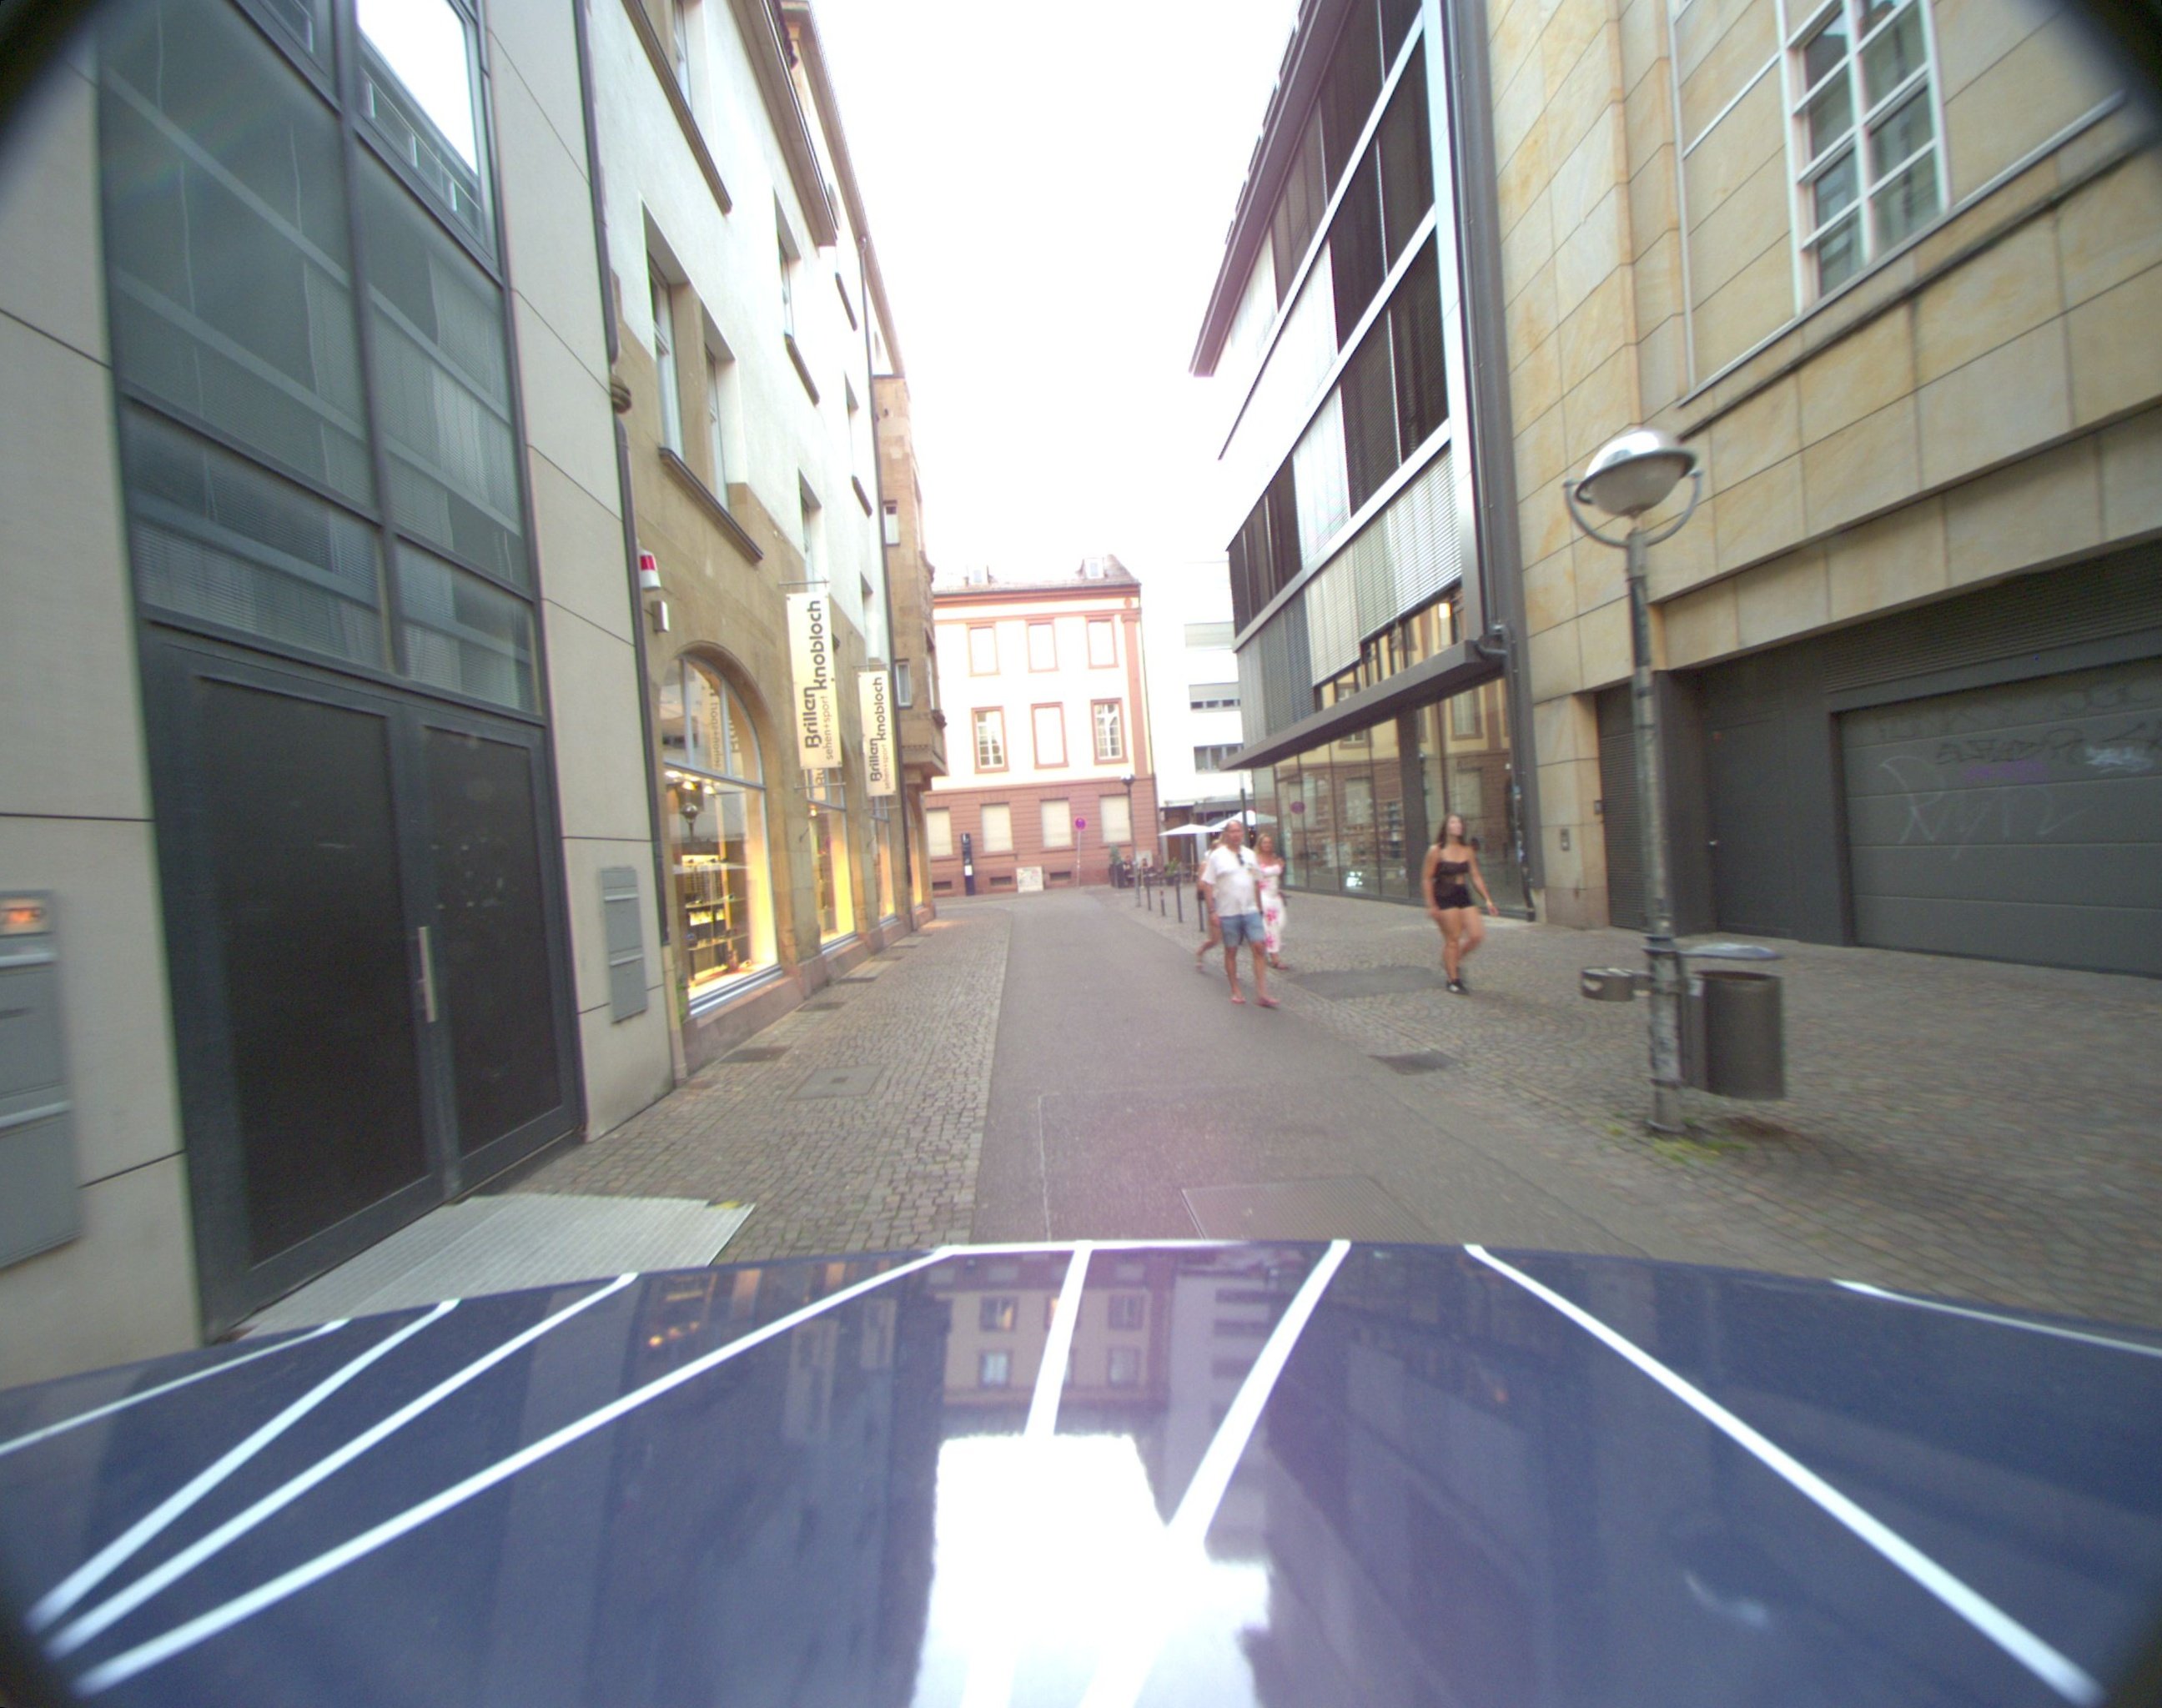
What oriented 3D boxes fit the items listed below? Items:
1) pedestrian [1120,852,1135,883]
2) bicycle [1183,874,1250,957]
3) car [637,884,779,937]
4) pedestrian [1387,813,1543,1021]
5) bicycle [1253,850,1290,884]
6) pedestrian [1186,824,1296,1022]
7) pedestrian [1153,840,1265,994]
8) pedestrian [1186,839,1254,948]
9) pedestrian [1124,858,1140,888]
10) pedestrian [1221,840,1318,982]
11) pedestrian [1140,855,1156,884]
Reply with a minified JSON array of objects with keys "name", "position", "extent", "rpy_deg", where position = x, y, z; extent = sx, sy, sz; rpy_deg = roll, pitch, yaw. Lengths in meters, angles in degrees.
[{"name":"pedestrian","position":[2.035,0.590,33.273],"extent":[0.549,1.341,0.488],"rpy_deg":[-4,1,-2]},{"name":"bicycle","position":[2.171,0.946,12.397],"extent":[0.534,1.147,1.914],"rpy_deg":[-6,1,-4]},{"name":"car","position":[-12.817,1.924,26.277],"extent":[3.998,1.434,1.650],"rpy_deg":[-4,1,-2]},{"name":"pedestrian","position":[3.599,0.552,7.195],"extent":[0.788,1.785,0.971],"rpy_deg":[-4,1,-12]},{"name":"bicycle","position":[6.721,0.476,26.893],"extent":[0.709,1.106,1.673],"rpy_deg":[-4,-1,-5]},{"name":"pedestrian","position":[1.571,0.647,7.599],"extent":[0.744,1.812,0.878],"rpy_deg":[-4,1,-5]},{"name":"pedestrian","position":[1.548,0.730,9.283],"extent":[0.810,1.719,0.947],"rpy_deg":[-5,1,-28]},{"name":"pedestrian","position":[2.333,0.648,12.760],"extent":[0.771,1.708,0.590],"rpy_deg":[-7,1,-35]},{"name":"pedestrian","position":[2.120,0.771,31.682],"extent":[0.562,1.204,0.461],"rpy_deg":[-4,1,-2]},{"name":"pedestrian","position":[2.377,0.691,9.614],"extent":[0.677,1.655,0.858],"rpy_deg":[-5,1,-28]},{"name":"pedestrian","position":[2.917,0.657,32.917],"extent":[0.549,1.204,0.524],"rpy_deg":[-4,1,-2]}]
